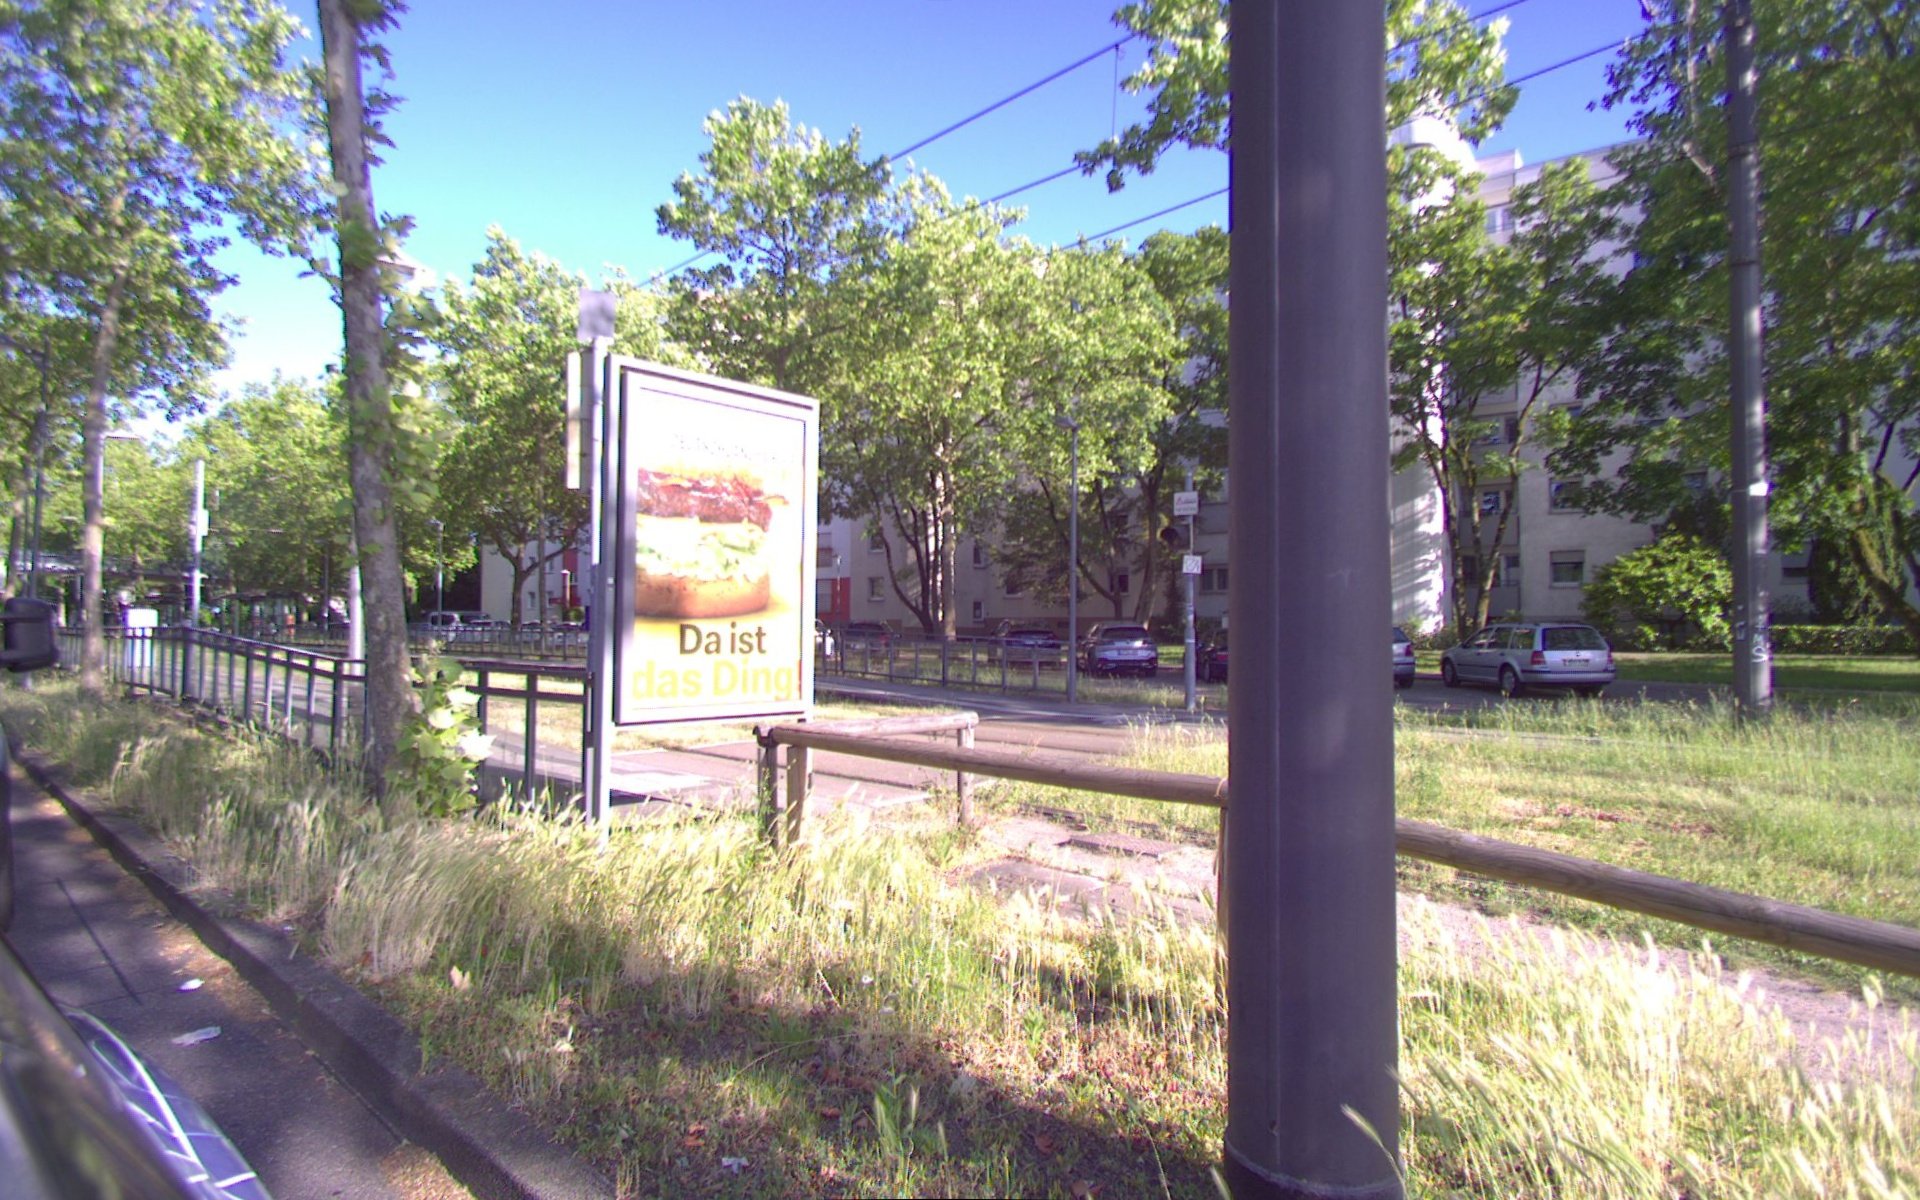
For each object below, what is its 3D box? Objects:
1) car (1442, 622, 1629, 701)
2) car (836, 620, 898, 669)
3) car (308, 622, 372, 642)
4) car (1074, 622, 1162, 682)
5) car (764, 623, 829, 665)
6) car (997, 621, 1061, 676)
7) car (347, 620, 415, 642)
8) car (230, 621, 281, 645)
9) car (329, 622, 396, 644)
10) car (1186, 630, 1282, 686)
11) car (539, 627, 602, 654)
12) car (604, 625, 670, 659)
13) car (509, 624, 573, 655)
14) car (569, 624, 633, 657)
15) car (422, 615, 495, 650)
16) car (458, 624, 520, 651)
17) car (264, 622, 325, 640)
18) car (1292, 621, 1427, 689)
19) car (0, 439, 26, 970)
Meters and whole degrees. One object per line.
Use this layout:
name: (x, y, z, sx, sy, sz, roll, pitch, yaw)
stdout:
car: (11.552, 1.177, 20.628, 1.707, 1.444, 3.681, 0, -1, 1)
car: (-3.103, 1.459, 34.468, 1.664, 1.579, 3.679, 0, -1, 2)
car: (-44.640, 2.282, 72.984, 1.898, 1.386, 4.365, 0, -1, 1)
car: (4.211, 1.346, 27.492, 1.894, 1.507, 3.680, 0, -1, 2)
car: (-5.905, 1.572, 36.918, 1.664, 1.444, 3.679, 0, -1, 2)
car: (1.938, 1.368, 29.446, 1.664, 1.482, 3.680, 0, -1, 1)
car: (-37.936, 2.035, 66.448, 1.898, 1.386, 4.365, 0, -1, 1)
car: (-44.450, 2.060, 63.813, 3.756, 1.431, 1.802, -1, -2, 41)
car: (-40.278, 2.205, 68.391, 1.898, 1.386, 4.365, 0, -1, 1)
car: (6.733, 1.401, 25.206, 1.602, 1.256, 3.677, 0, -1, 4)
car: (-19.042, 1.981, 49.666, 1.627, 1.251, 3.680, 0, -1, 1)
car: (-14.079, 1.820, 44.280, 1.627, 1.403, 3.679, 0, -1, 2)
car: (-21.119, 1.960, 51.134, 1.627, 1.460, 3.680, 0, -1, 1)
car: (-16.678, 1.843, 47.136, 1.627, 1.460, 3.680, 0, -1, 1)
car: (-28.322, 1.827, 57.328, 1.898, 1.898, 4.365, 0, -1, 1)
car: (-25.794, 2.036, 55.519, 1.627, 1.407, 3.680, 0, -1, 1)
car: (-52.141, 2.405, 79.364, 1.898, 1.386, 4.365, 0, -1, 1)
car: (9.157, 1.220, 23.527, 1.679, 1.444, 3.681, 0, -1, 1)
car: (-6.385, 0.450, 5.046, 5.111, 2.131, 2.014, -1, -1, 41)
